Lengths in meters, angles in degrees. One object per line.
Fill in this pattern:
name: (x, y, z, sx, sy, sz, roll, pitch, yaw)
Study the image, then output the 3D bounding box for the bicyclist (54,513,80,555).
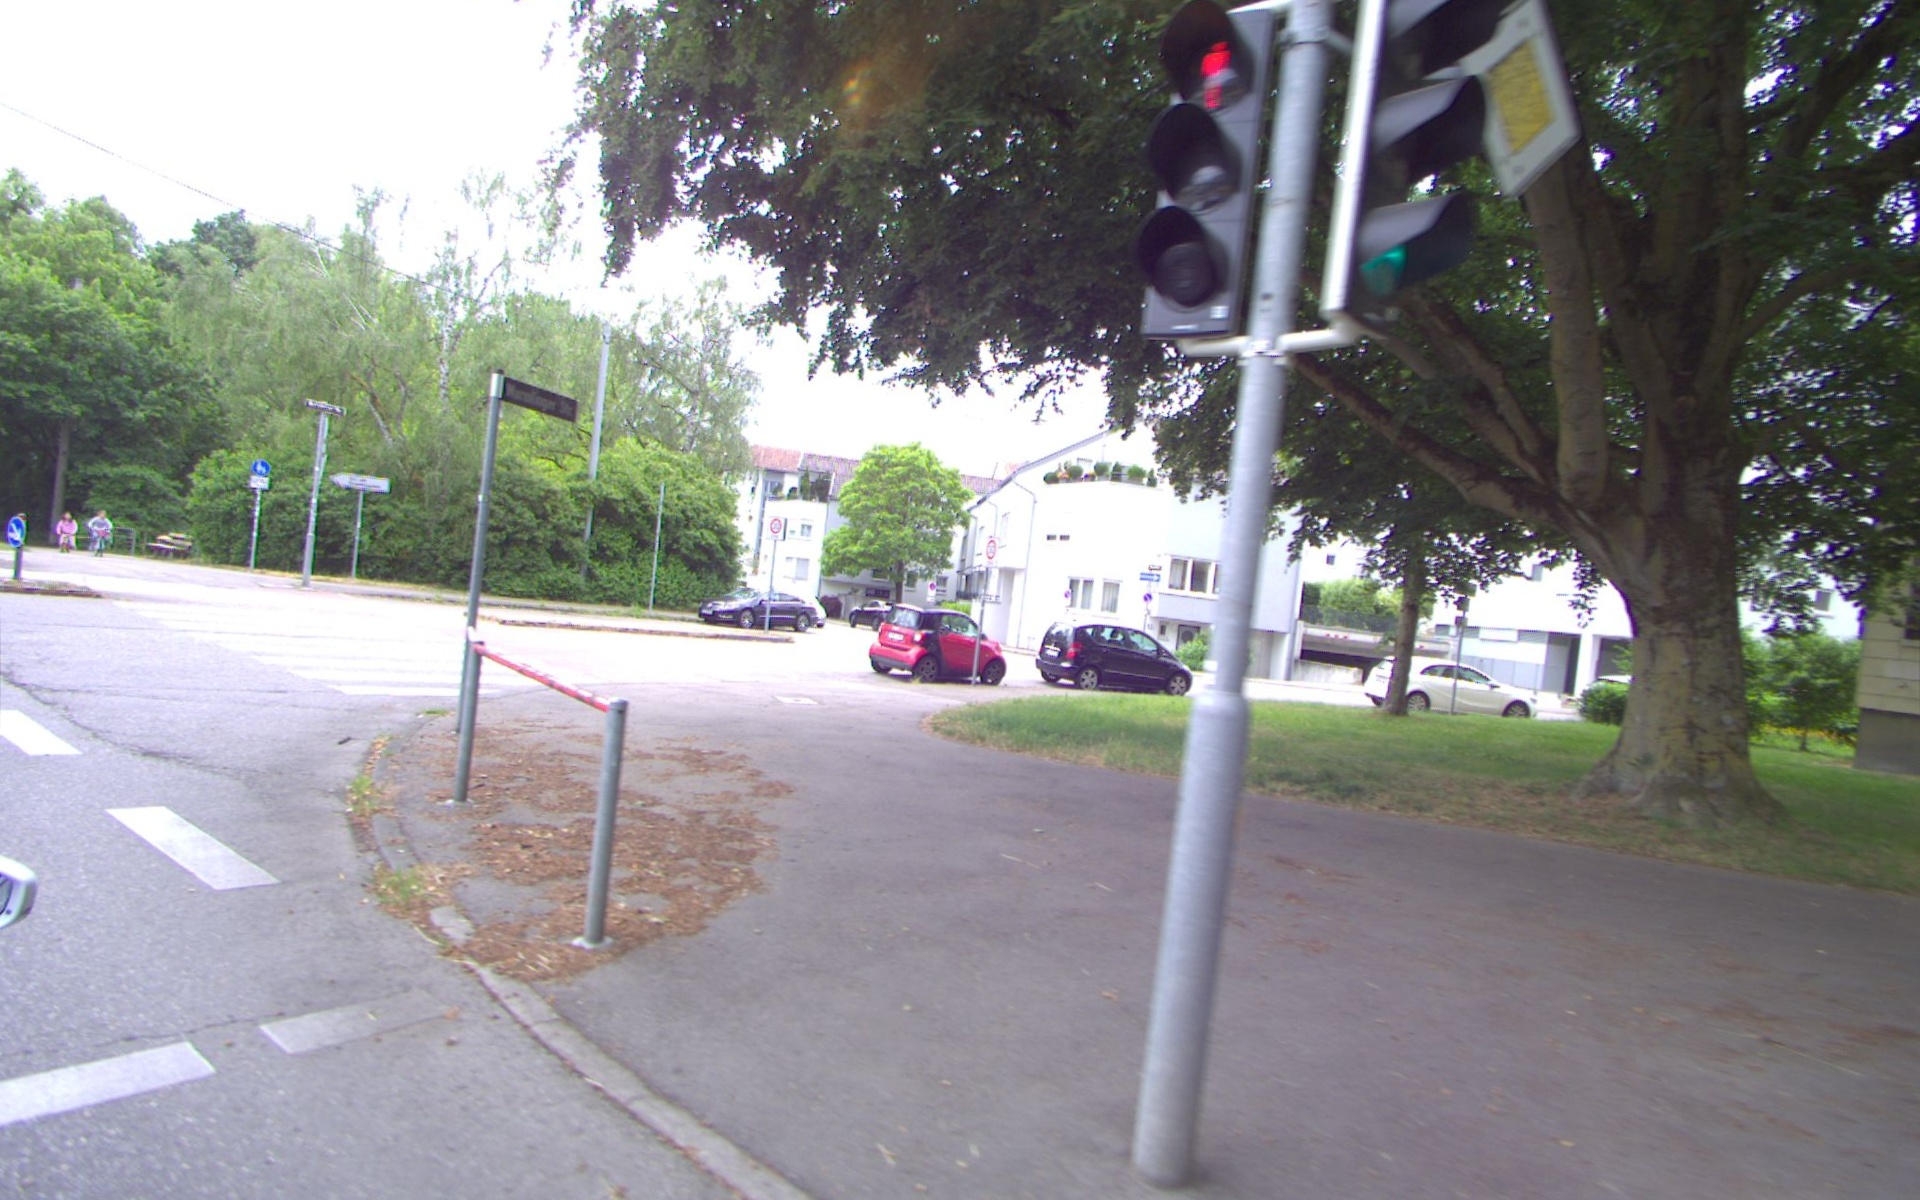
bicyclist: (-27.051, -1.988, 30.459, 0.516, 1.201, 0.956, 4, -1, -43)

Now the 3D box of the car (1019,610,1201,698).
car: (3.553, 1.286, 23.846, 3.776, 1.610, 1.809, 7, -1, -24)

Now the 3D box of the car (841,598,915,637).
car: (-4.133, 0.832, 50.177, 1.915, 1.563, 4.031, 6, -1, -32)

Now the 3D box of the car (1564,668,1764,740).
car: (18.489, 2.713, 26.518, 3.998, 1.372, 1.793, 5, 1, -5)

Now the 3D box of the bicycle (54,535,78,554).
bicycle: (-27.080, -1.678, 30.459, 0.516, 0.503, 0.977, 5, -1, -43)

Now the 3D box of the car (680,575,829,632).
car: (-6.876, 0.158, 34.140, 2.007, 1.456, 4.786, 6, -1, 35)

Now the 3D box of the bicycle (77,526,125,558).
bicycle: (-25.196, -1.697, 29.495, 1.654, 0.768, 0.639, 6, 1, 35)

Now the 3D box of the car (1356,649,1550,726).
car: (12.525, 2.210, 25.720, 3.998, 1.453, 1.793, 5, 1, -5)

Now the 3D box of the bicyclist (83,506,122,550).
bicyclist: (-25.128, -2.113, 29.478, 0.791, 1.177, 0.639, 7, 1, 34)

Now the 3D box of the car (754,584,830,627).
car: (-7.237, 0.220, 43.154, 1.790, 1.505, 3.638, 6, -1, -33)

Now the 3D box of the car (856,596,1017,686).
car: (-0.468, 0.885, 21.269, 2.903, 1.525, 1.674, 8, 0, -44)
